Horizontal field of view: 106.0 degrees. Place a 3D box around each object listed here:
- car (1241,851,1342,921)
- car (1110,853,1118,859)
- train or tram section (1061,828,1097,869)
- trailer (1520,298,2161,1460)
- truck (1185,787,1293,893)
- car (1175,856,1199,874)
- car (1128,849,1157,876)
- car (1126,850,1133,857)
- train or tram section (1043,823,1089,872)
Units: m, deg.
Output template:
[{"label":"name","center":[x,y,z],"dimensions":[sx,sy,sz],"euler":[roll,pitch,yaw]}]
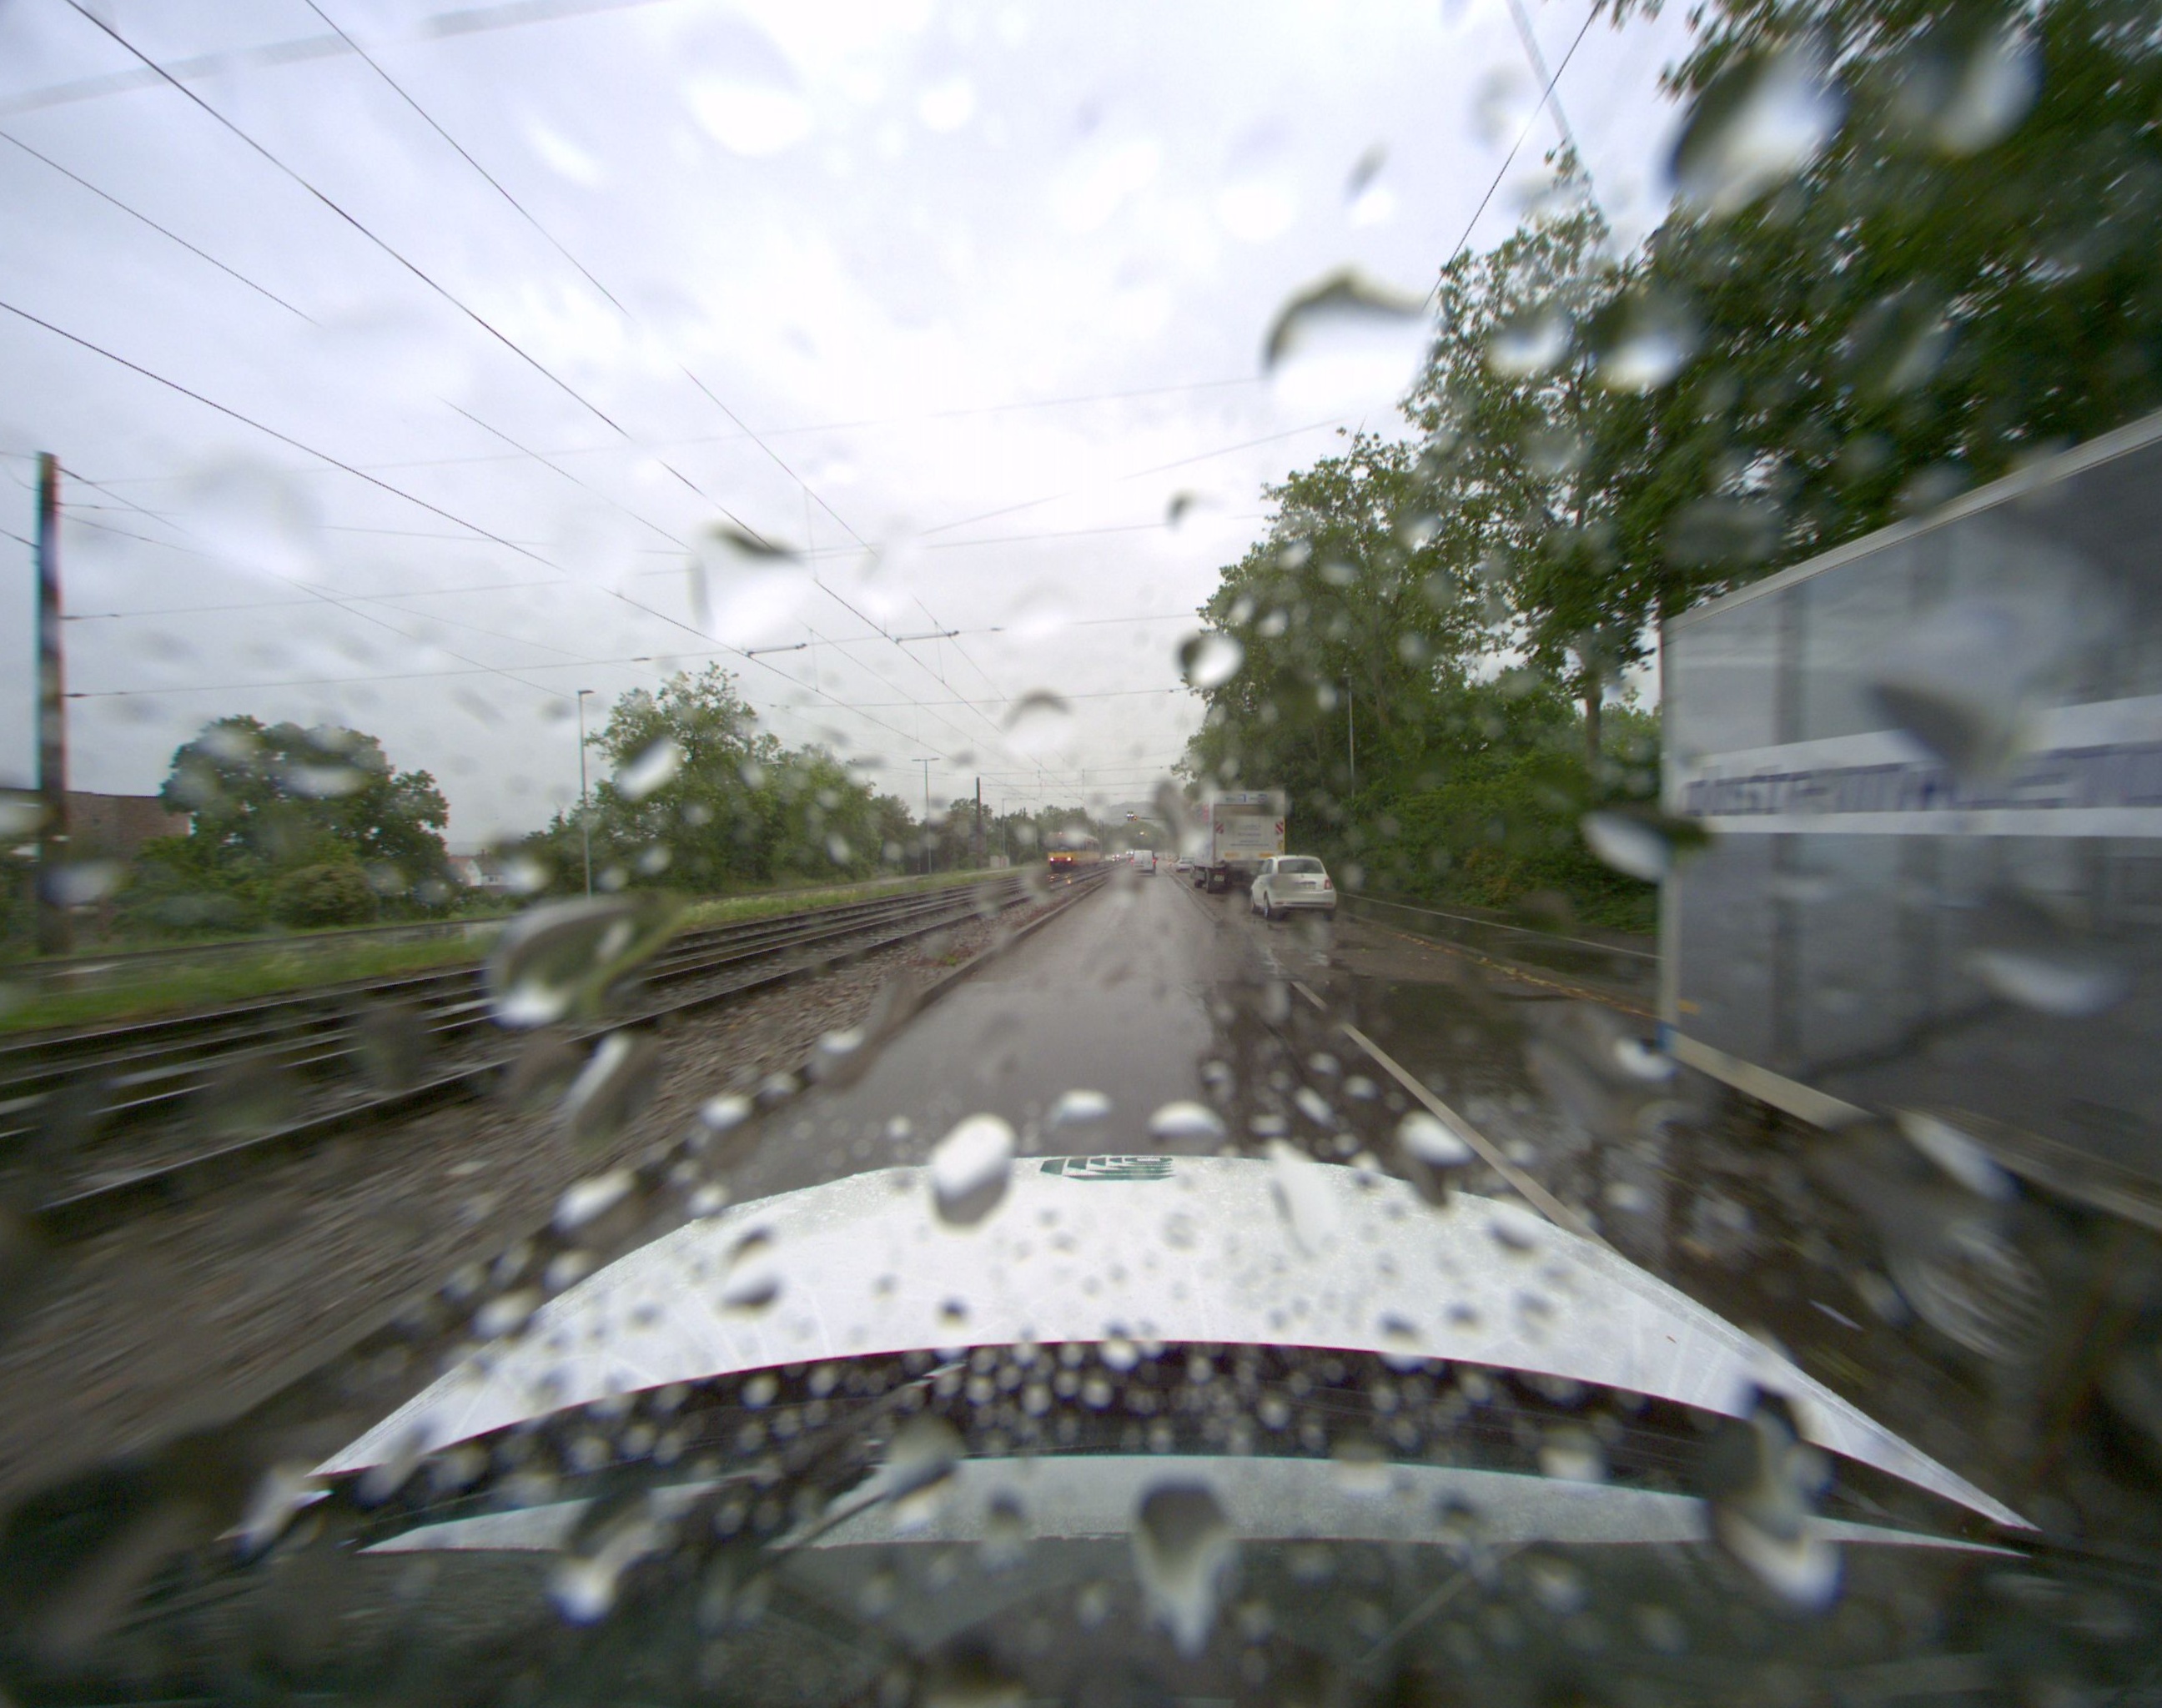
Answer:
[{"label":"car","center":[5.104,0.723,20.249],"dimensions":[1.706,1.529,4.004],"euler":[-1,0,4]},{"label":"car","center":[8.782,0.509,218.048],"dimensions":[1.811,1.398,4.005],"euler":[-2,0,4]},{"label":"train or tram section","center":[-0.041,-0.511,89.340],"dimensions":[2.793,4.150,13.036],"euler":[-1,0,5]},{"label":"trailer","center":[3.740,0.067,2.637],"dimensions":[2.154,2.757,5.688],"euler":[-1,-1,7]},{"label":"truck","center":[6.182,-0.435,33.533],"dimensions":[2.765,3.704,9.855],"euler":[-1,-1,2]},{"label":"car","center":[9.070,0.942,70.026],"dimensions":[1.811,1.486,4.486],"euler":[1,0,5]},{"label":"car","center":[4.376,0.599,58.338],"dimensions":[1.985,1.849,4.003],"euler":[-1,0,3]},{"label":"car","center":[15.320,-0.200,255.987],"dimensions":[1.983,2.014,4.006],"euler":[-1,-1,6]},{"label":"train or tram section","center":[-1.224,-0.553,76.337],"dimensions":[2.793,4.149,13.038],"euler":[-1,0,5]}]
